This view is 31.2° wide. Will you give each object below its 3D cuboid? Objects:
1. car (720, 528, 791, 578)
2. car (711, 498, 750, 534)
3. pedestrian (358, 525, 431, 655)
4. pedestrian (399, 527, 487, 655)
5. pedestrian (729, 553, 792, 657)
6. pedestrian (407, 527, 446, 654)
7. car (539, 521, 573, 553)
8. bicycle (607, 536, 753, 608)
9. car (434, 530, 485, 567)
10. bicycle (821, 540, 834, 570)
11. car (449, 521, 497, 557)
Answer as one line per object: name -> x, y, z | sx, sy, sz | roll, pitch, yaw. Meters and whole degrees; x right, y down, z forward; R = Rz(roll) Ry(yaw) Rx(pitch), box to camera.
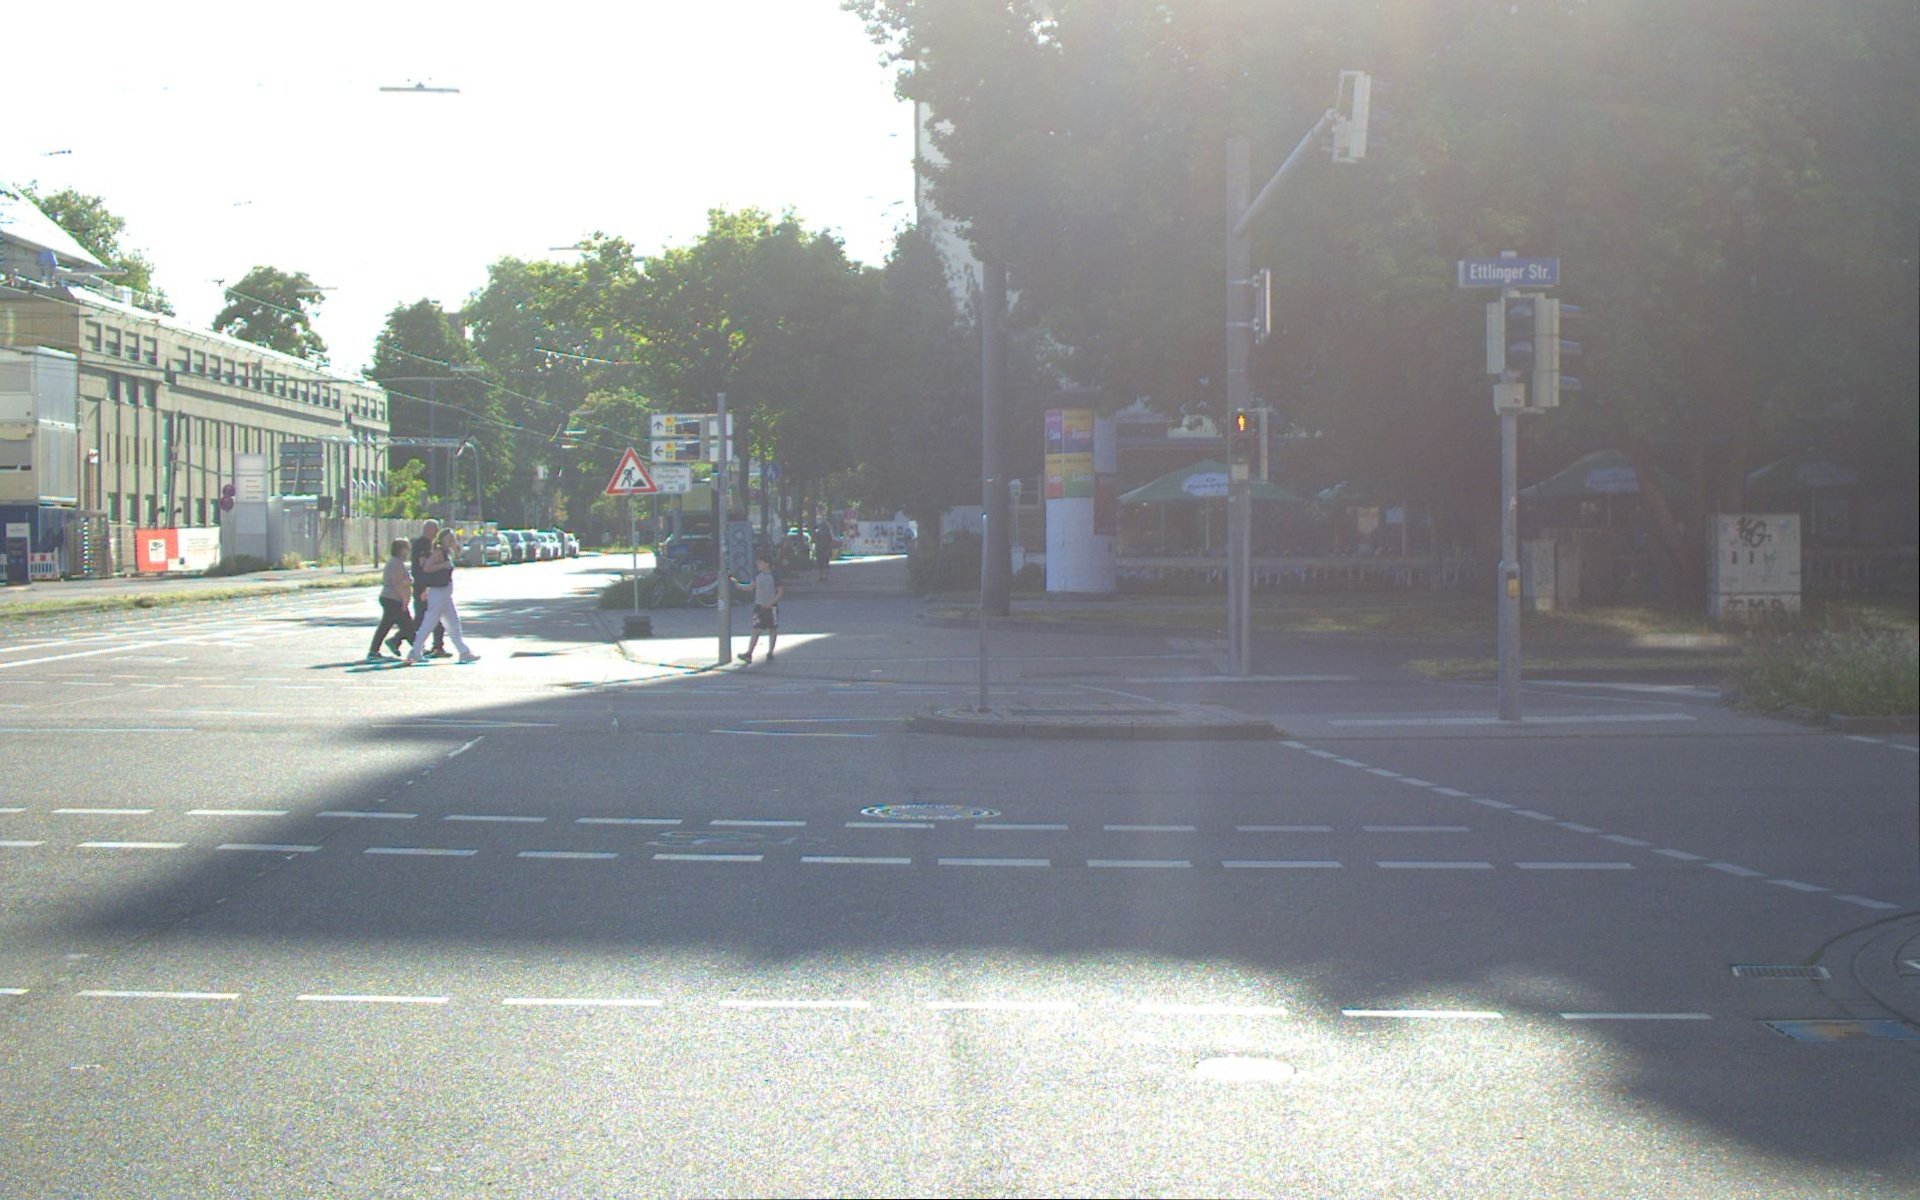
car -> -5.391, -1.258, 90.942 | 1.819, 1.274, 4.001 | 0, 1, -3
car -> -12.958, -4.751, 194.329 | 1.993, 2.007, 4.000 | -1, 1, -1
pedestrian -> -7.176, -0.126, 43.645 | 0.795, 1.634, 0.533 | 0, 1, 2
pedestrian -> -6.507, -0.115, 43.288 | 0.984, 1.582, 0.660 | 0, 0, 1
pedestrian -> -2.579, 0.058, 44.430 | 0.752, 1.328, 0.742 | 0, 1, 1
pedestrian -> -6.981, -0.127, 45.016 | 0.441, 1.657, 0.376 | -1, 1, -1
car -> -22.819, -3.559, 194.221 | 1.483, 1.744, 4.000 | -1, 1, -1
bicycle -> -5.468, -0.545, 67.145 | 2.748, 1.363, 0.630 | 1, 0, 11
car -> -22.695, -2.336, 155.939 | 1.731, 1.647, 4.000 | 0, 1, -1
bicycle -> -3.814, -1.291, 98.998 | 0.324, 0.865, 1.483 | -1, 1, -1
car -> -22.669, -2.844, 160.127 | 1.731, 1.647, 4.000 | 0, 1, -1
